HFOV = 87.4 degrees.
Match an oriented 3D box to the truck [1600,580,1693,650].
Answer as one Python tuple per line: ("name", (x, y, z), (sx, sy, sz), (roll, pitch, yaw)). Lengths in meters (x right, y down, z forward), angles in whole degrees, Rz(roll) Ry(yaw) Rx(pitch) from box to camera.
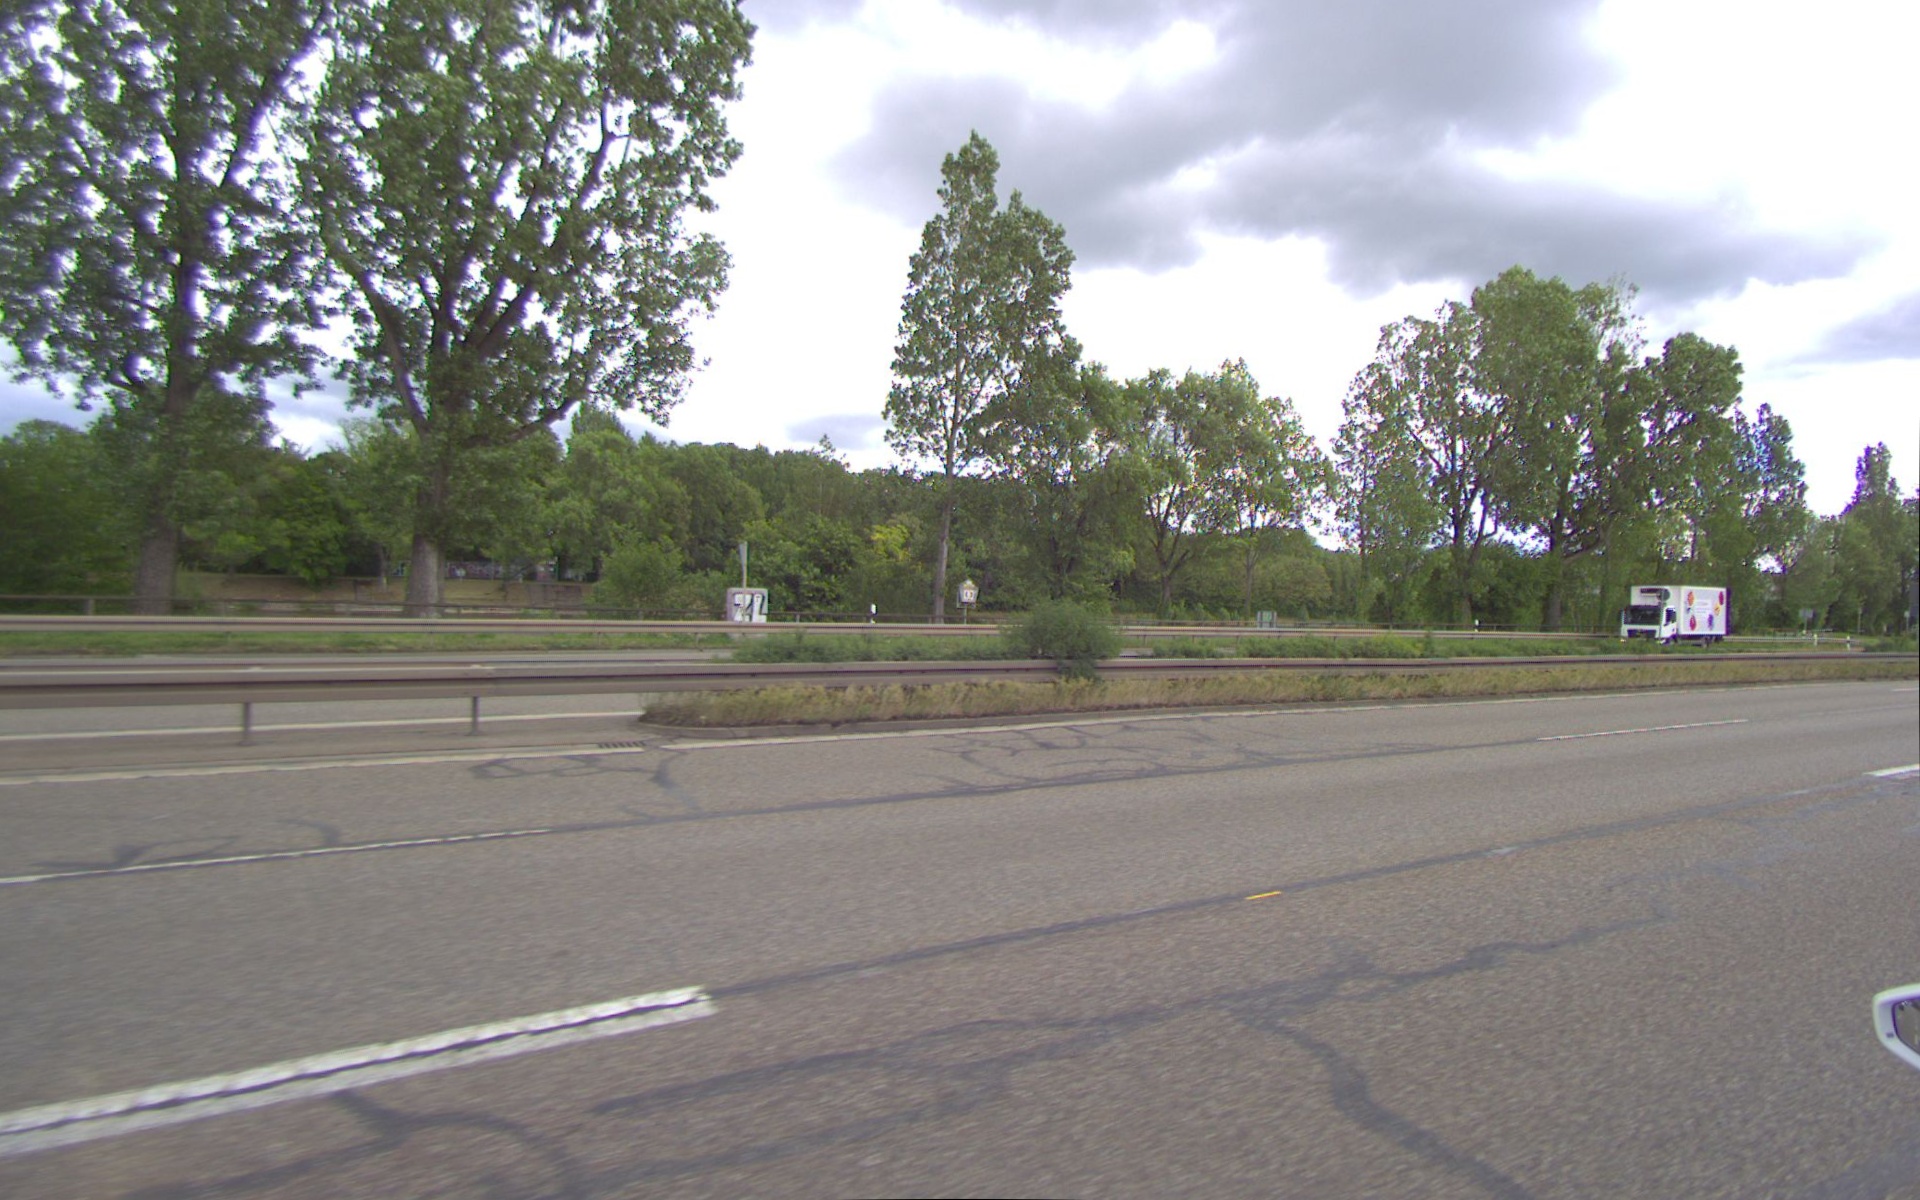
("truck", (38.891, 0.862, 56.926), (3.960, 3.692, 2.965), (2, 2, -35))

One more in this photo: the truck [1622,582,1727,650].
("truck", (42.173, 0.970, 59.250), (6.274, 3.692, 2.963), (2, 2, -35))
